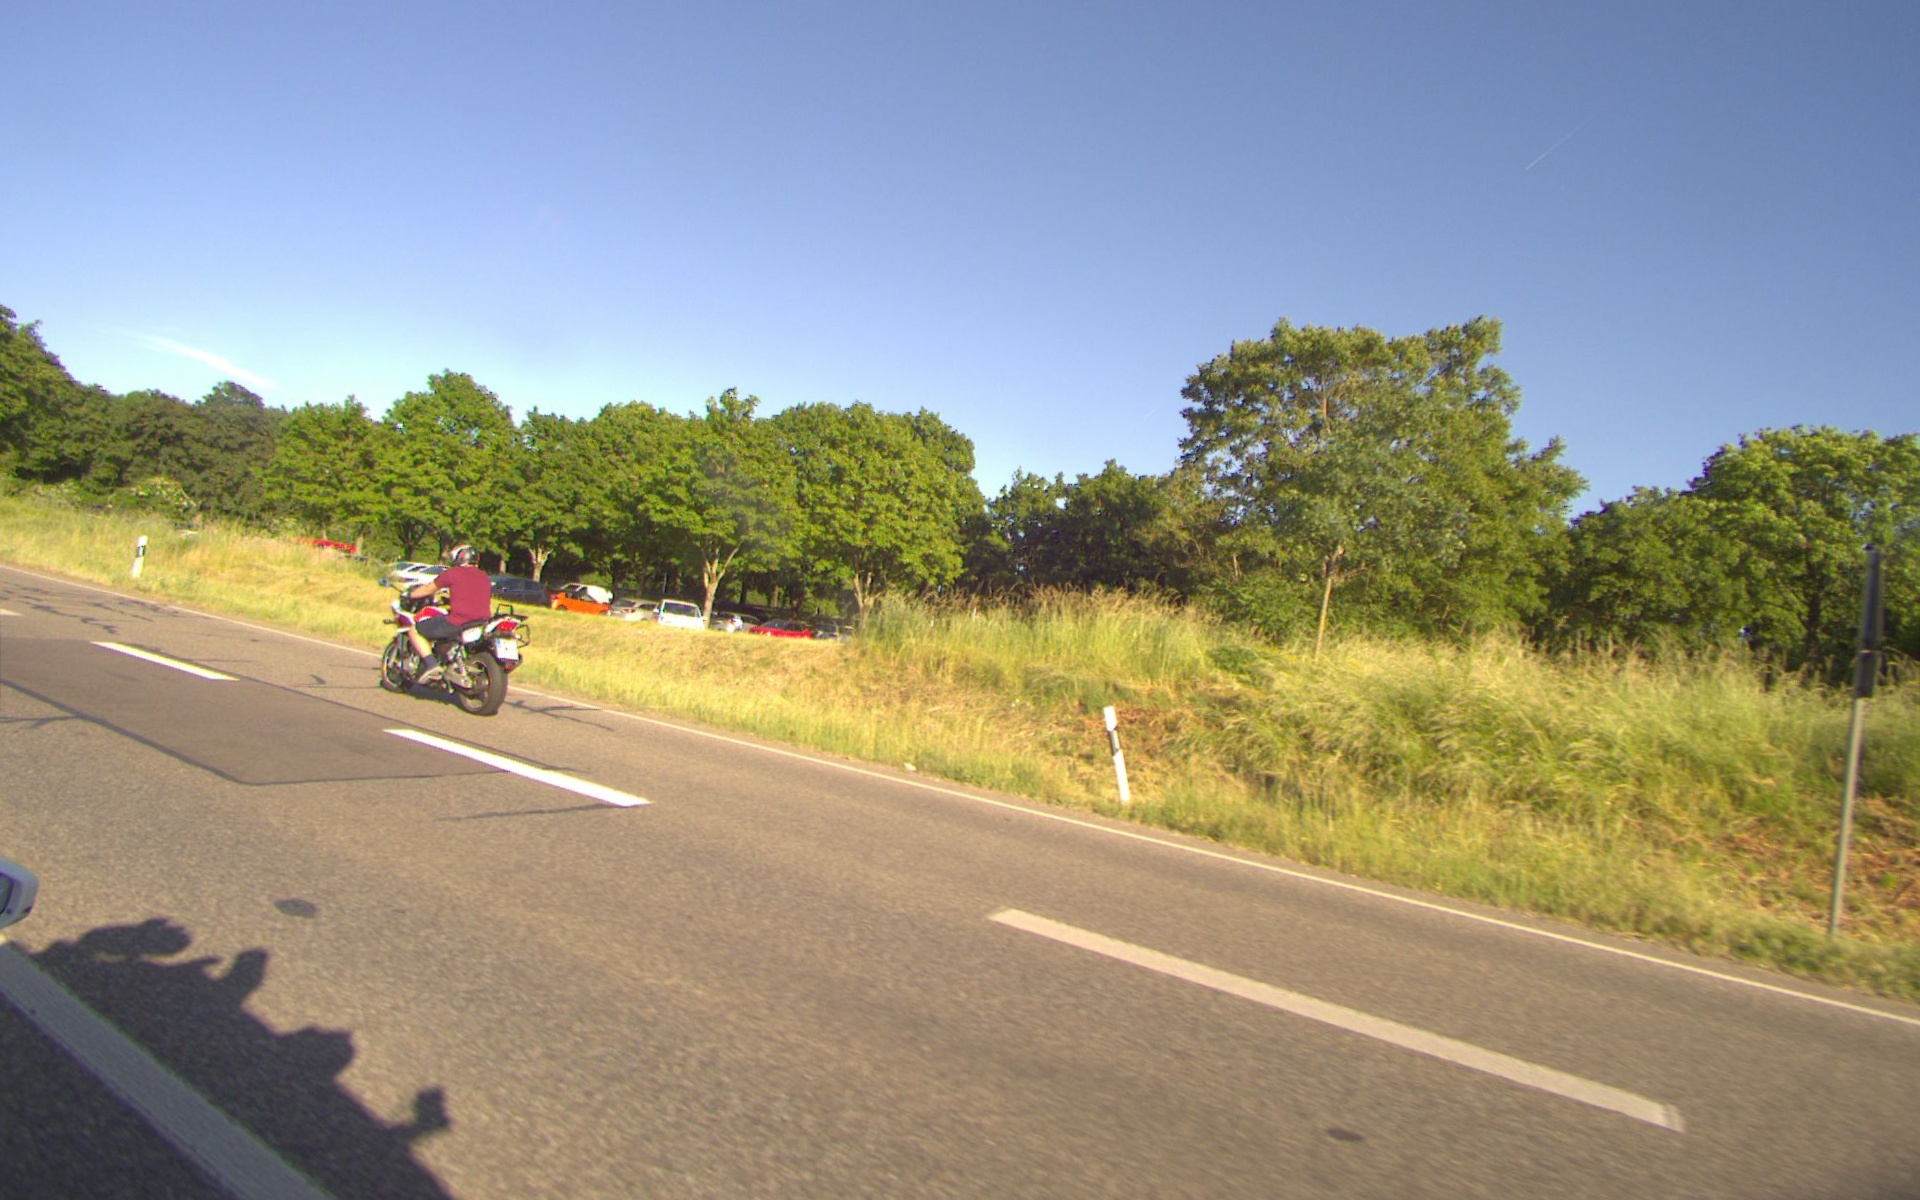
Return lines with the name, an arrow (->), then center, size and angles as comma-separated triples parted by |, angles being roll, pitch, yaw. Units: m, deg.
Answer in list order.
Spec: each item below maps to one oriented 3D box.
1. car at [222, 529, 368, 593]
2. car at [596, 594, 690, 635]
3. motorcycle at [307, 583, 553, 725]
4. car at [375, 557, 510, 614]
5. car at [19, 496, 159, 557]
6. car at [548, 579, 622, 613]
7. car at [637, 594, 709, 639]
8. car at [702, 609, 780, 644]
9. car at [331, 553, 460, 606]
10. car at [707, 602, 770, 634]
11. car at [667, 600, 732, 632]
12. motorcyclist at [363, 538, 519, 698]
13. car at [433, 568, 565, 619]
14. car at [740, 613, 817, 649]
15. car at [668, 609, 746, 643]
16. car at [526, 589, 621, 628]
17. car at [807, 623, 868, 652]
car -> -28.656, -1.628, 43.554 | 1.991, 2.045, 4.806 | 4, -4, 26
car -> -14.955, 0.709, 47.678 | 1.890, 1.439, 4.124 | 4, -4, 26
motorcycle -> -5.509, 0.531, 10.374 | 2.788, 1.082, 0.818 | 6, -2, 31
car -> -19.448, -0.502, 37.997 | 1.890, 1.576, 4.124 | 4, -4, 26
car -> -46.146, -3.839, 53.411 | 2.061, 2.157, 5.044 | 5, -6, 35
car -> -28.605, -0.273, 76.962 | 1.923, 1.887, 5.205 | 6, -2, 28
car -> -10.289, 0.631, 35.852 | 1.964, 1.321, 3.985 | 7, -4, -22
car -> -11.658, 1.456, 53.845 | 1.834, 1.439, 4.124 | 4, -4, 26
car -> -21.927, -0.767, 39.224 | 1.890, 1.475, 3.945 | 4, -4, 26
car -> -15.052, 1.232, 68.496 | 1.757, 1.576, 4.228 | 6, -5, 28
car -> -18.085, 1.159, 70.080 | 1.911, 1.797, 4.600 | 5, -2, 22
motorcyclist -> -5.291, 0.186, 10.262 | 1.075, 1.464, 0.818 | 7, -1, 31
car -> -16.719, -0.202, 36.661 | 1.891, 1.321, 4.001 | 4, -4, 26
car -> -9.454, 1.639, 52.759 | 1.834, 1.439, 4.124 | 4, -4, 26
car -> -13.849, 1.450, 55.323 | 1.834, 1.439, 4.124 | 4, -4, 26
car -> -19.361, 0.464, 50.609 | 1.988, 1.439, 4.124 | 4, -4, 26
car -> -7.730, 2.409, 63.859 | 1.834, 1.439, 4.124 | 4, -4, 26
